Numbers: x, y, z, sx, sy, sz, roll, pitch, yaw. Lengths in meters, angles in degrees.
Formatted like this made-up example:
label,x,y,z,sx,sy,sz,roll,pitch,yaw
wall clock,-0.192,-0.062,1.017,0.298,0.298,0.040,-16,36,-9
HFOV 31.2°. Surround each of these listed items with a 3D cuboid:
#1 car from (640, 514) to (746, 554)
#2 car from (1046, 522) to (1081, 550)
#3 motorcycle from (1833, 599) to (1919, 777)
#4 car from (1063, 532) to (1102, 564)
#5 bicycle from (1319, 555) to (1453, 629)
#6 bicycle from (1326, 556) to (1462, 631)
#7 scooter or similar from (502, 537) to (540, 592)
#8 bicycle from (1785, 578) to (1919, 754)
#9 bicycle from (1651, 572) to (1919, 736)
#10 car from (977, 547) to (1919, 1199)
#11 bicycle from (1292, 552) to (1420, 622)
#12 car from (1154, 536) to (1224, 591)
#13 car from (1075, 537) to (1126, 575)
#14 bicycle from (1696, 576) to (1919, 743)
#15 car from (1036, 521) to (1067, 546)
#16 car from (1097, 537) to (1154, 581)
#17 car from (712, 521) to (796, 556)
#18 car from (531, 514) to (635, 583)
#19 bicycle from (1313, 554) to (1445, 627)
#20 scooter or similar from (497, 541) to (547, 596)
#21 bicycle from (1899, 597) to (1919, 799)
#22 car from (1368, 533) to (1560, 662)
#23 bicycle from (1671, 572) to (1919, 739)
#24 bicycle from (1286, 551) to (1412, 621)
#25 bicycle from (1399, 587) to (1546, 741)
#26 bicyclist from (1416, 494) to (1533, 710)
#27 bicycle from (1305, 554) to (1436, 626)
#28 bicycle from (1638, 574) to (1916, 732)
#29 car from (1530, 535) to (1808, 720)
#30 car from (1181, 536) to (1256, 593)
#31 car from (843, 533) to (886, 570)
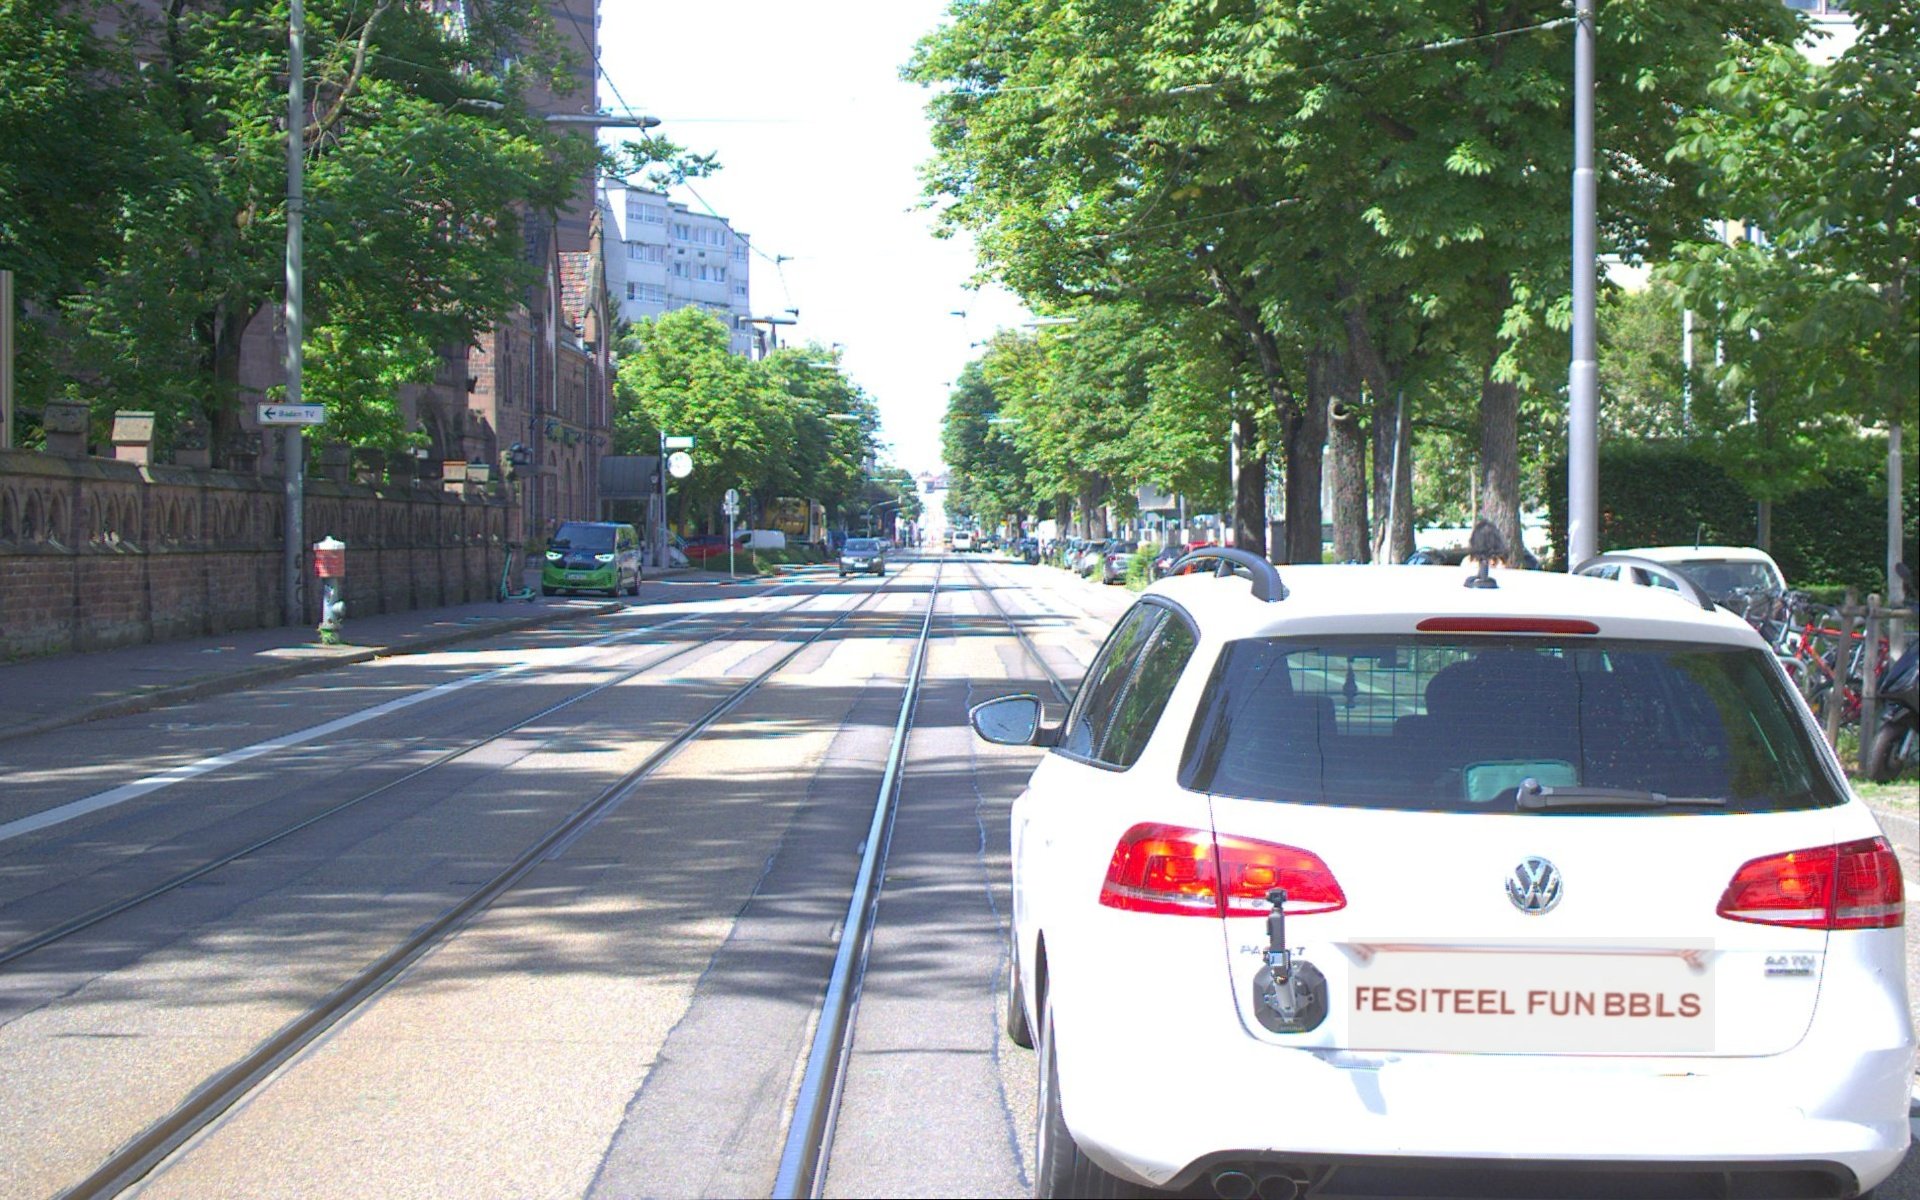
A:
label,x,y,z,sx,sy,sz,roll,pitch,yaw
car,-11.510,-2.846,148.137,4.116,1.525,1.933,2,2,-21
car,5.274,-3.280,175.129,1.713,1.396,3.843,0,1,1
motorcycle,6.075,0.522,20.753,1.465,1.042,0.534,0,1,-2
car,5.524,-2.360,155.384,1.713,1.396,3.843,0,1,1
bicycle,5.906,-0.115,47.693,1.787,1.007,0.488,0,1,-5
bicycle,5.939,-0.097,47.110,1.787,1.007,0.488,0,1,-5
scooter or similar,-9.733,-0.793,76.245,0.423,1.196,1.142,0,1,15
bicycle,6.325,0.420,22.346,1.774,1.116,0.596,0,1,-2
bicycle,6.025,0.384,24.807,1.911,1.079,0.551,3,1,-2
car,0.980,0.604,8.472,1.753,1.437,4.413,1,1,-1
bicycle,5.771,-0.192,50.126,1.787,1.007,0.488,0,1,-5
car,6.009,-0.964,90.489,1.713,1.396,3.843,0,1,2
car,5.293,-1.669,129.900,1.713,1.396,3.843,0,1,0
bicycle,6.092,0.412,23.595,1.911,1.079,0.551,2,1,-2
car,5.190,-3.780,195.607,1.713,1.396,3.843,0,1,1
car,5.382,-1.362,112.176,1.713,1.396,3.843,0,1,1
car,-10.859,-3.245,181.495,3.987,1.809,2.000,-1,2,-35
car,-9.752,-1.352,89.171,1.994,1.751,4.712,0,1,2
bicycle,5.879,-0.133,48.270,1.787,1.007,0.488,0,1,-5
scooter or similar,-9.291,-0.676,72.946,0.405,1.151,1.141,1,1,34
bicycle,6.052,0.526,18.600,1.774,1.079,0.596,0,1,-2
car,5.992,-0.076,41.343,1.664,1.439,4.633,0,1,1
bicycle,6.049,0.391,24.194,1.911,1.079,0.551,3,1,-2
bicycle,5.731,-0.208,50.645,1.787,1.007,0.488,0,1,-5
bicycle,3.870,0.466,26.099,0.811,1.074,2.012,1,1,0
bicyclist,3.915,0.009,26.209,0.786,1.623,0.738,0,1,0
bicycle,5.832,-0.152,48.854,1.787,1.007,0.488,0,1,-5
bicycle,6.038,0.384,25.449,1.885,1.079,0.551,2,1,-2
car,5.971,0.182,29.347,1.590,1.446,3.946,0,1,1
car,6.048,-0.851,80.636,1.713,1.276,3.843,0,1,4
car,-3.608,-1.840,130.064,1.493,1.380,3.643,0,1,1
